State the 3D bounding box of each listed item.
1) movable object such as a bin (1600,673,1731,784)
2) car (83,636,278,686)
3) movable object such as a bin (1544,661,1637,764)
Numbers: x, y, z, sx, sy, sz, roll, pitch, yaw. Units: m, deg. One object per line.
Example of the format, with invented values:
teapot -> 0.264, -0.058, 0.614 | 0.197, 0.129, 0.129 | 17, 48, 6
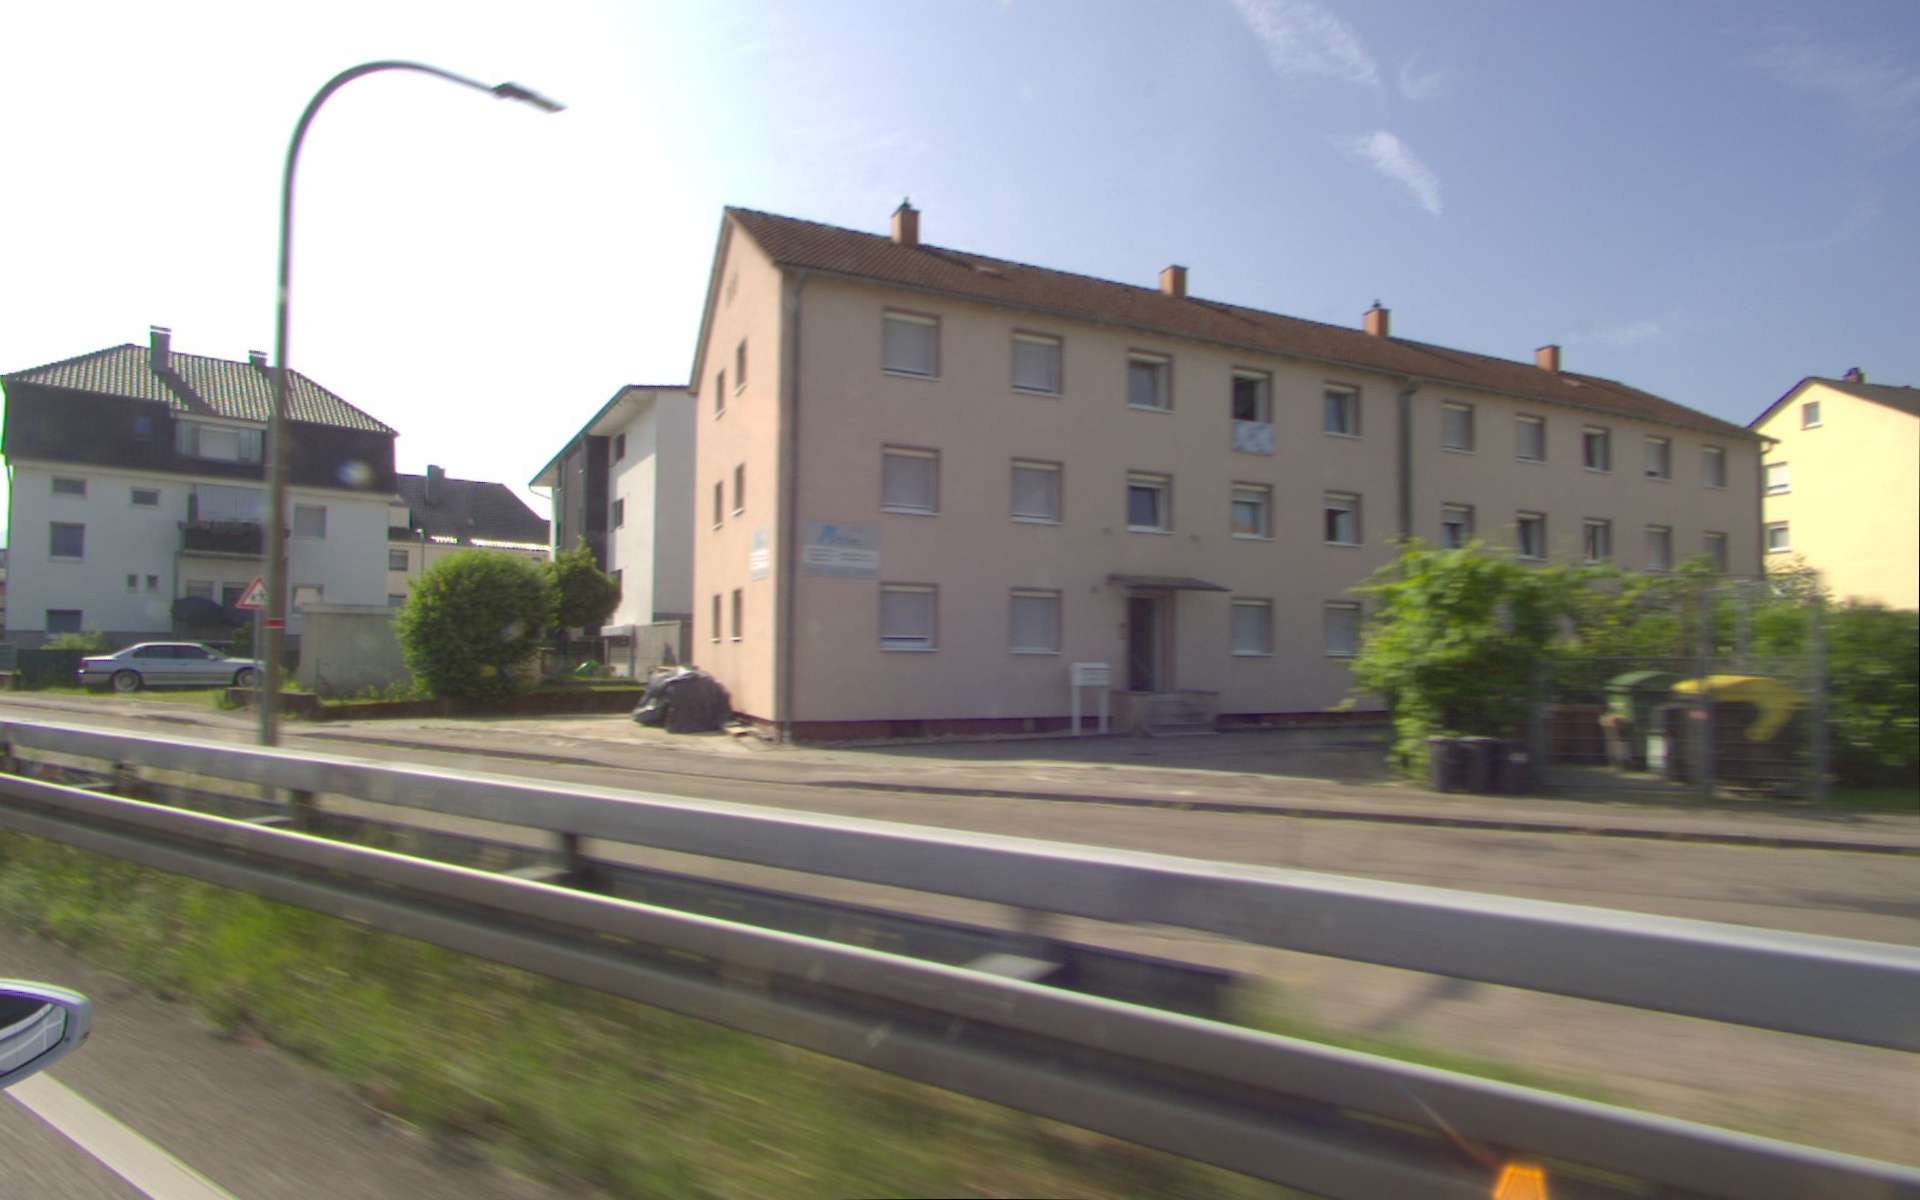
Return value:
movable object such as a bin -> 9.851, 1.762, 14.049 | 1.077, 1.422, 1.274 | 0, -2, 12
car -> -23.749, 1.818, 30.757 | 4.549, 1.366, 1.744 | 1, 0, -33
movable object such as a bin -> 10.013, 1.759, 15.941 | 0.947, 1.533, 1.043 | 0, -2, 12
